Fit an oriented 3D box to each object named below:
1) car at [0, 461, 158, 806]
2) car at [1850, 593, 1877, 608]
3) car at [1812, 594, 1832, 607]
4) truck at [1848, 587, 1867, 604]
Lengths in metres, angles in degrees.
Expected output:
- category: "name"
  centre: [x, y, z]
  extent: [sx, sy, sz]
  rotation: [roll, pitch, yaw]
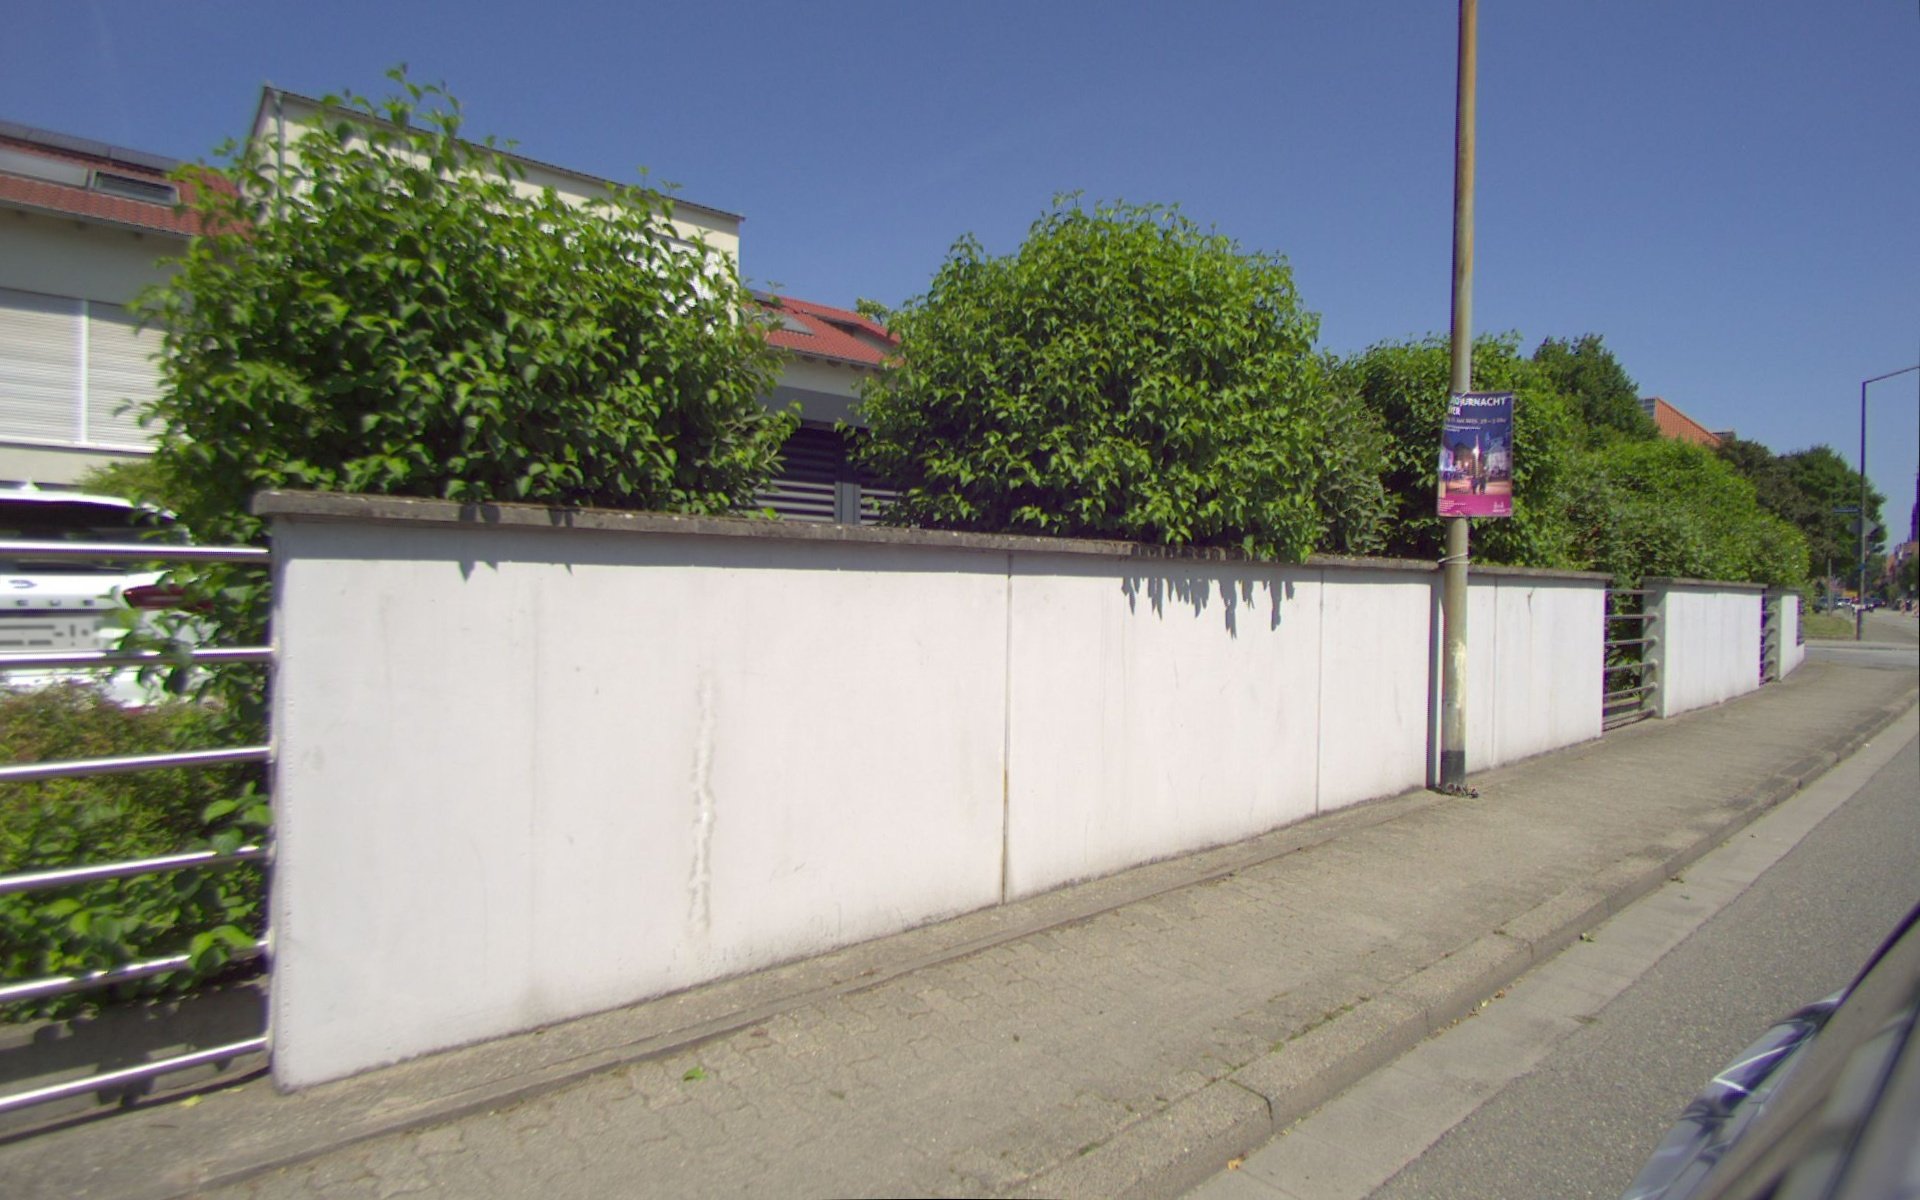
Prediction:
- category: "car"
  centre: [-4.990, 0.127, 5.215]
  extent: [1.259, 1.459, 2.626]
  rotation: [0, 0, -40]
- category: "car"
  centre: [92.342, 0.061, 103.460]
  extent: [1.702, 1.476, 3.518]
  rotation: [1, 1, 36]
- category: "car"
  centre: [95.409, 0.020, 112.026]
  extent: [1.600, 1.429, 3.854]
  rotation: [-1, 0, 39]
- category: "truck"
  centre: [165.535, -0.894, 186.634]
  extent: [2.212, 2.974, 5.278]
  rotation: [1, 1, 38]
